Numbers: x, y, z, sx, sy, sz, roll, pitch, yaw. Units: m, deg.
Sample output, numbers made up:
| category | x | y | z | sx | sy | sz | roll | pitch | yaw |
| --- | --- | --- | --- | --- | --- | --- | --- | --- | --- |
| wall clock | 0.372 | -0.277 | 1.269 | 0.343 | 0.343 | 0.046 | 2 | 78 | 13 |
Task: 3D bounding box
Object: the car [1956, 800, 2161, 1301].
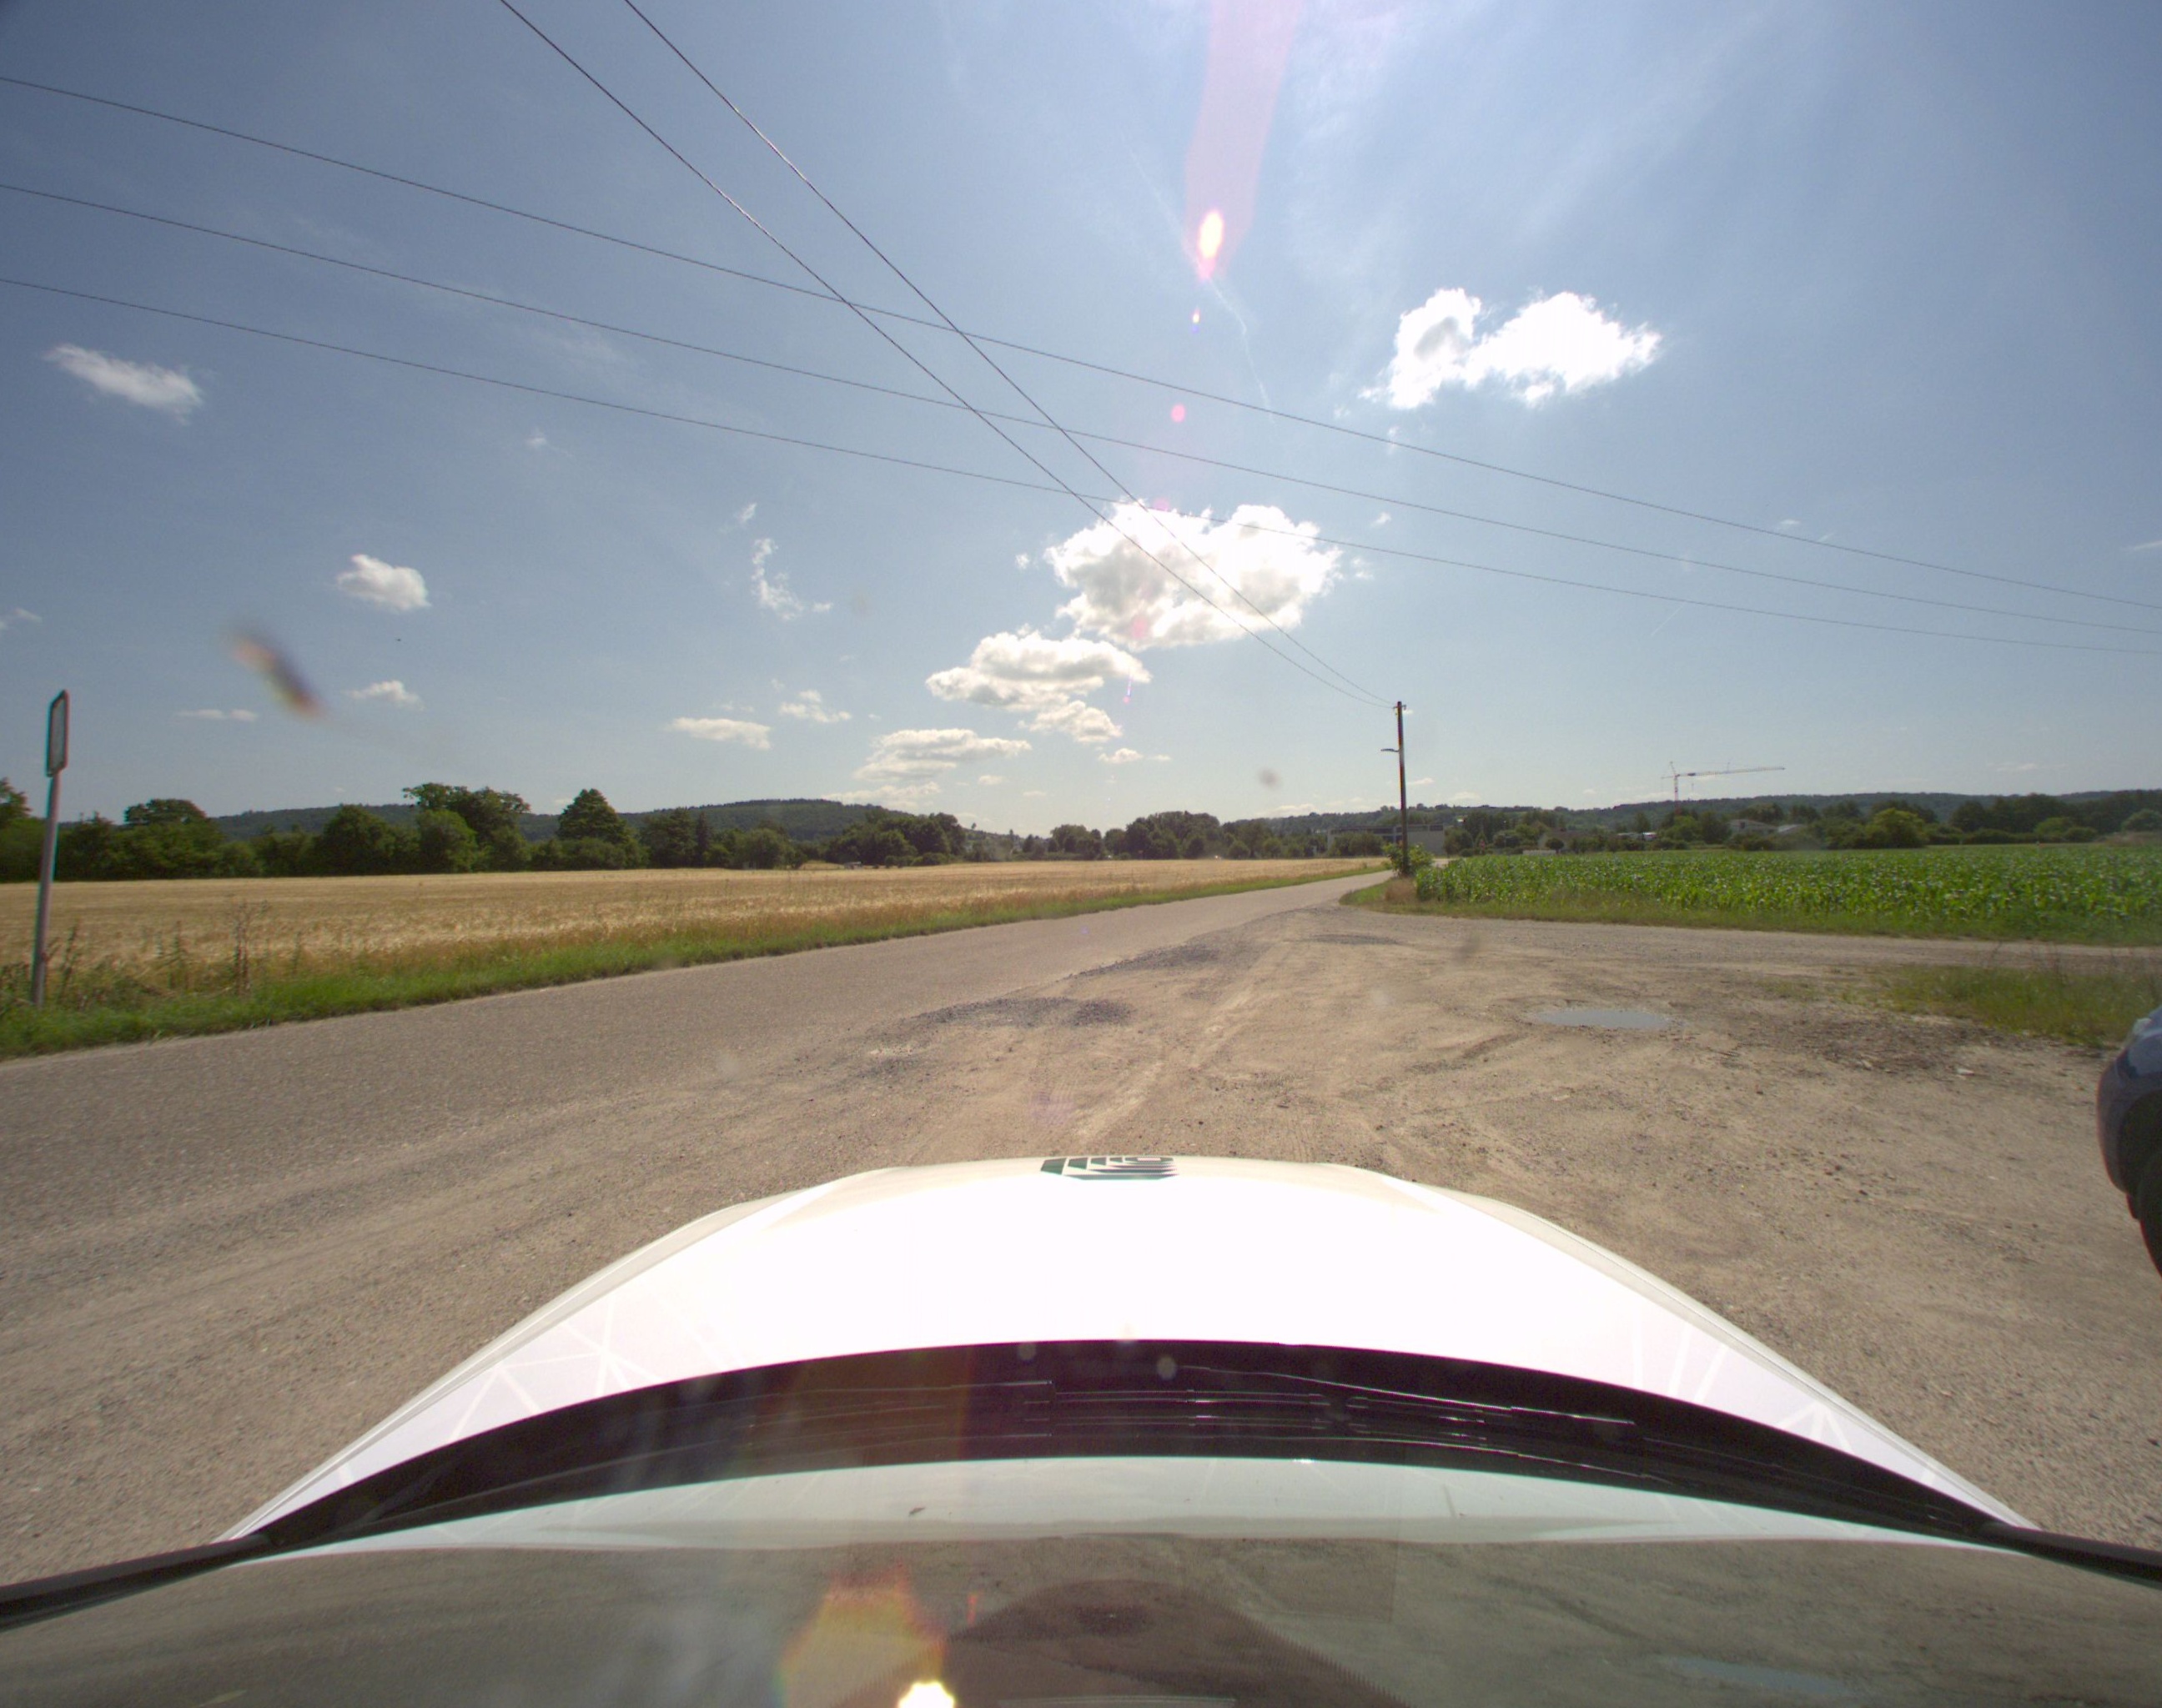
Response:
| category | x | y | z | sx | sy | sz | roll | pitch | yaw |
| --- | --- | --- | --- | --- | --- | --- | --- | --- | --- |
| car | 4.087 | 0.629 | 1.144 | 1.844 | 1.661 | 4.477 | 0 | -1 | 16 |
